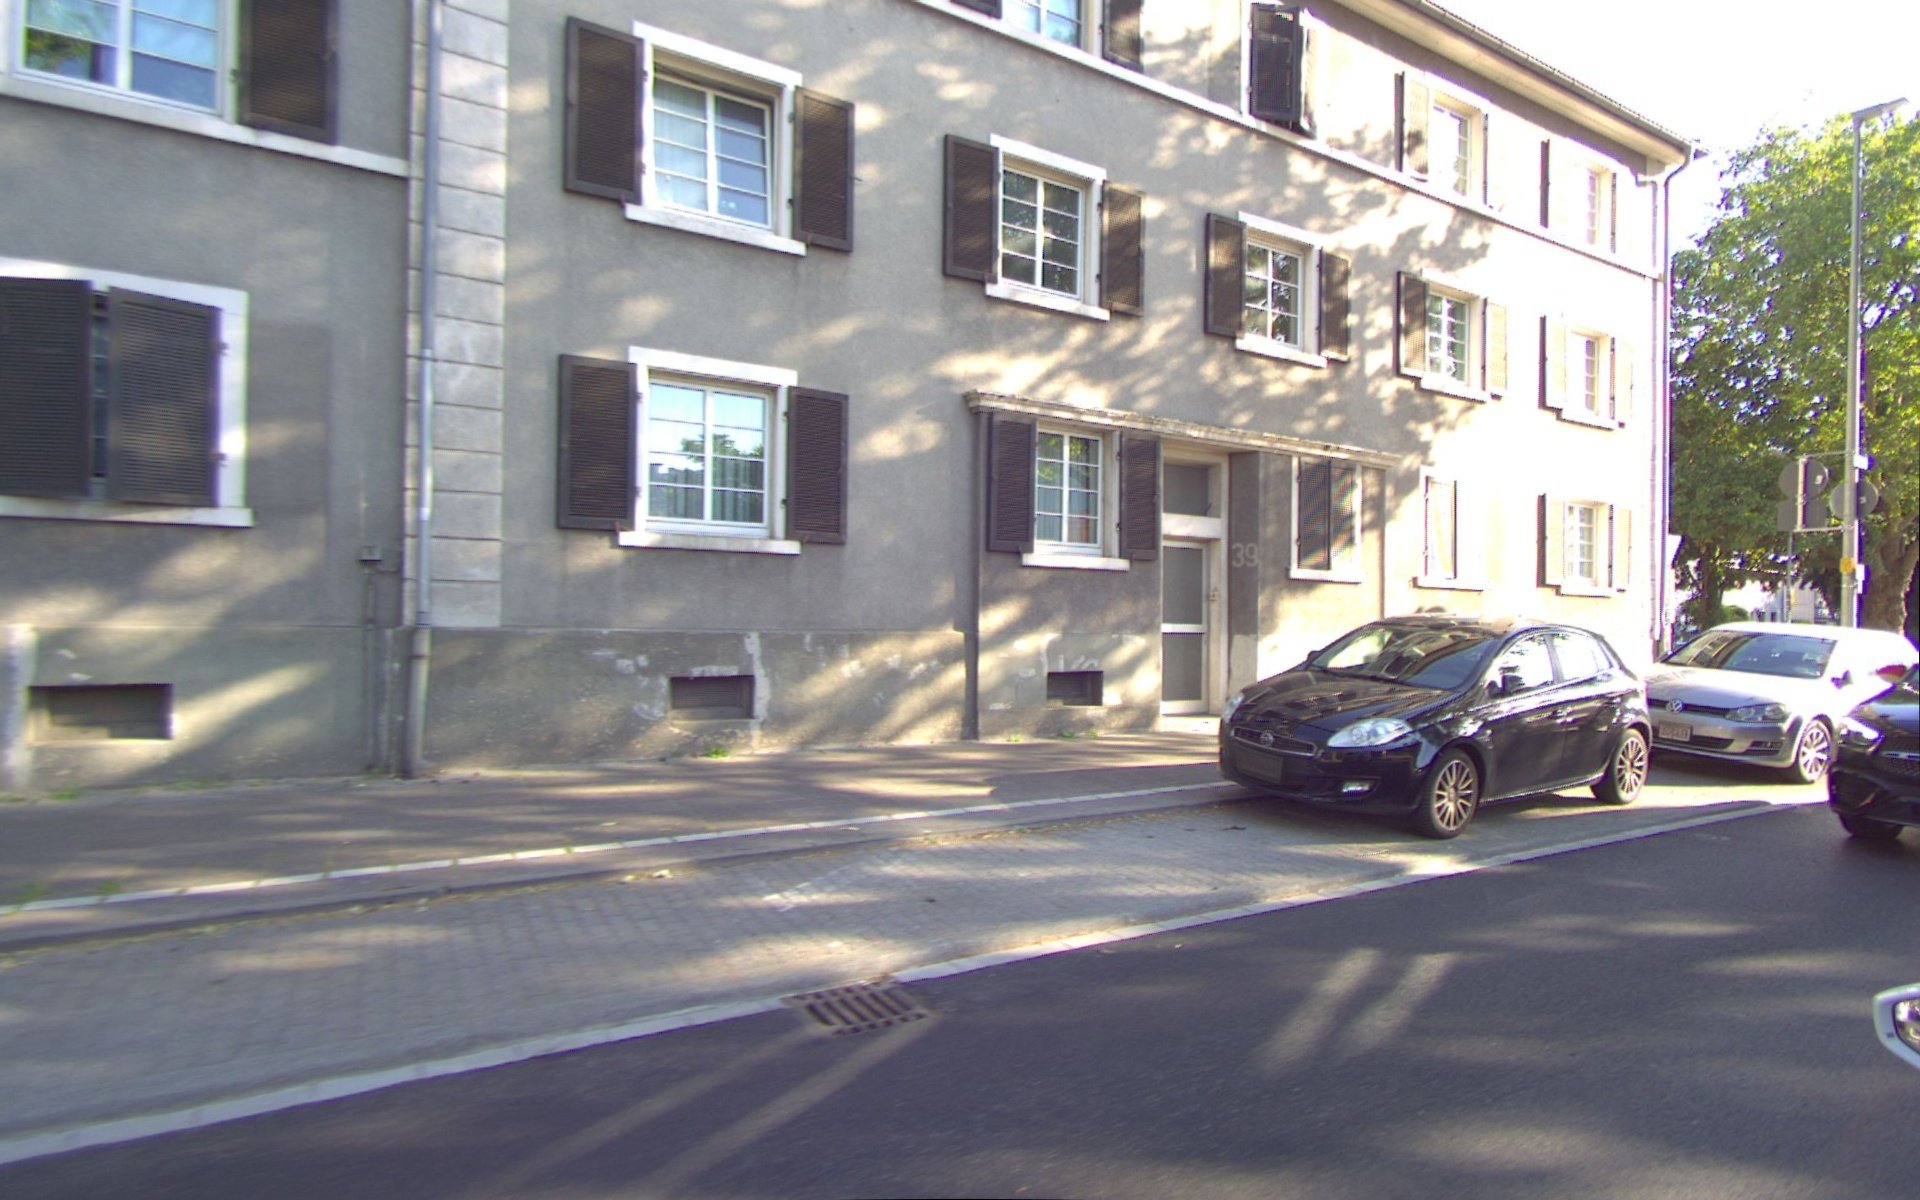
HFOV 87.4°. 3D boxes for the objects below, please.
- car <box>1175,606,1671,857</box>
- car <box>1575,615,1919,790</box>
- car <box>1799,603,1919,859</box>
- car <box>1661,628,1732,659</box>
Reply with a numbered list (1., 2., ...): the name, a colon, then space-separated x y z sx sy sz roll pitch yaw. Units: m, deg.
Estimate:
1. car: 3.806 0.858 8.078 4.009 1.527 1.697 1 1 -32
2. car: 8.631 0.970 10.766 4.060 1.503 1.752 1 1 -30
3. car: 7.926 0.852 7.083 4.023 1.611 1.887 1 -2 -31
4. car: 42.812 2.531 58.383 4.129 1.764 1.884 2 -3 -32
